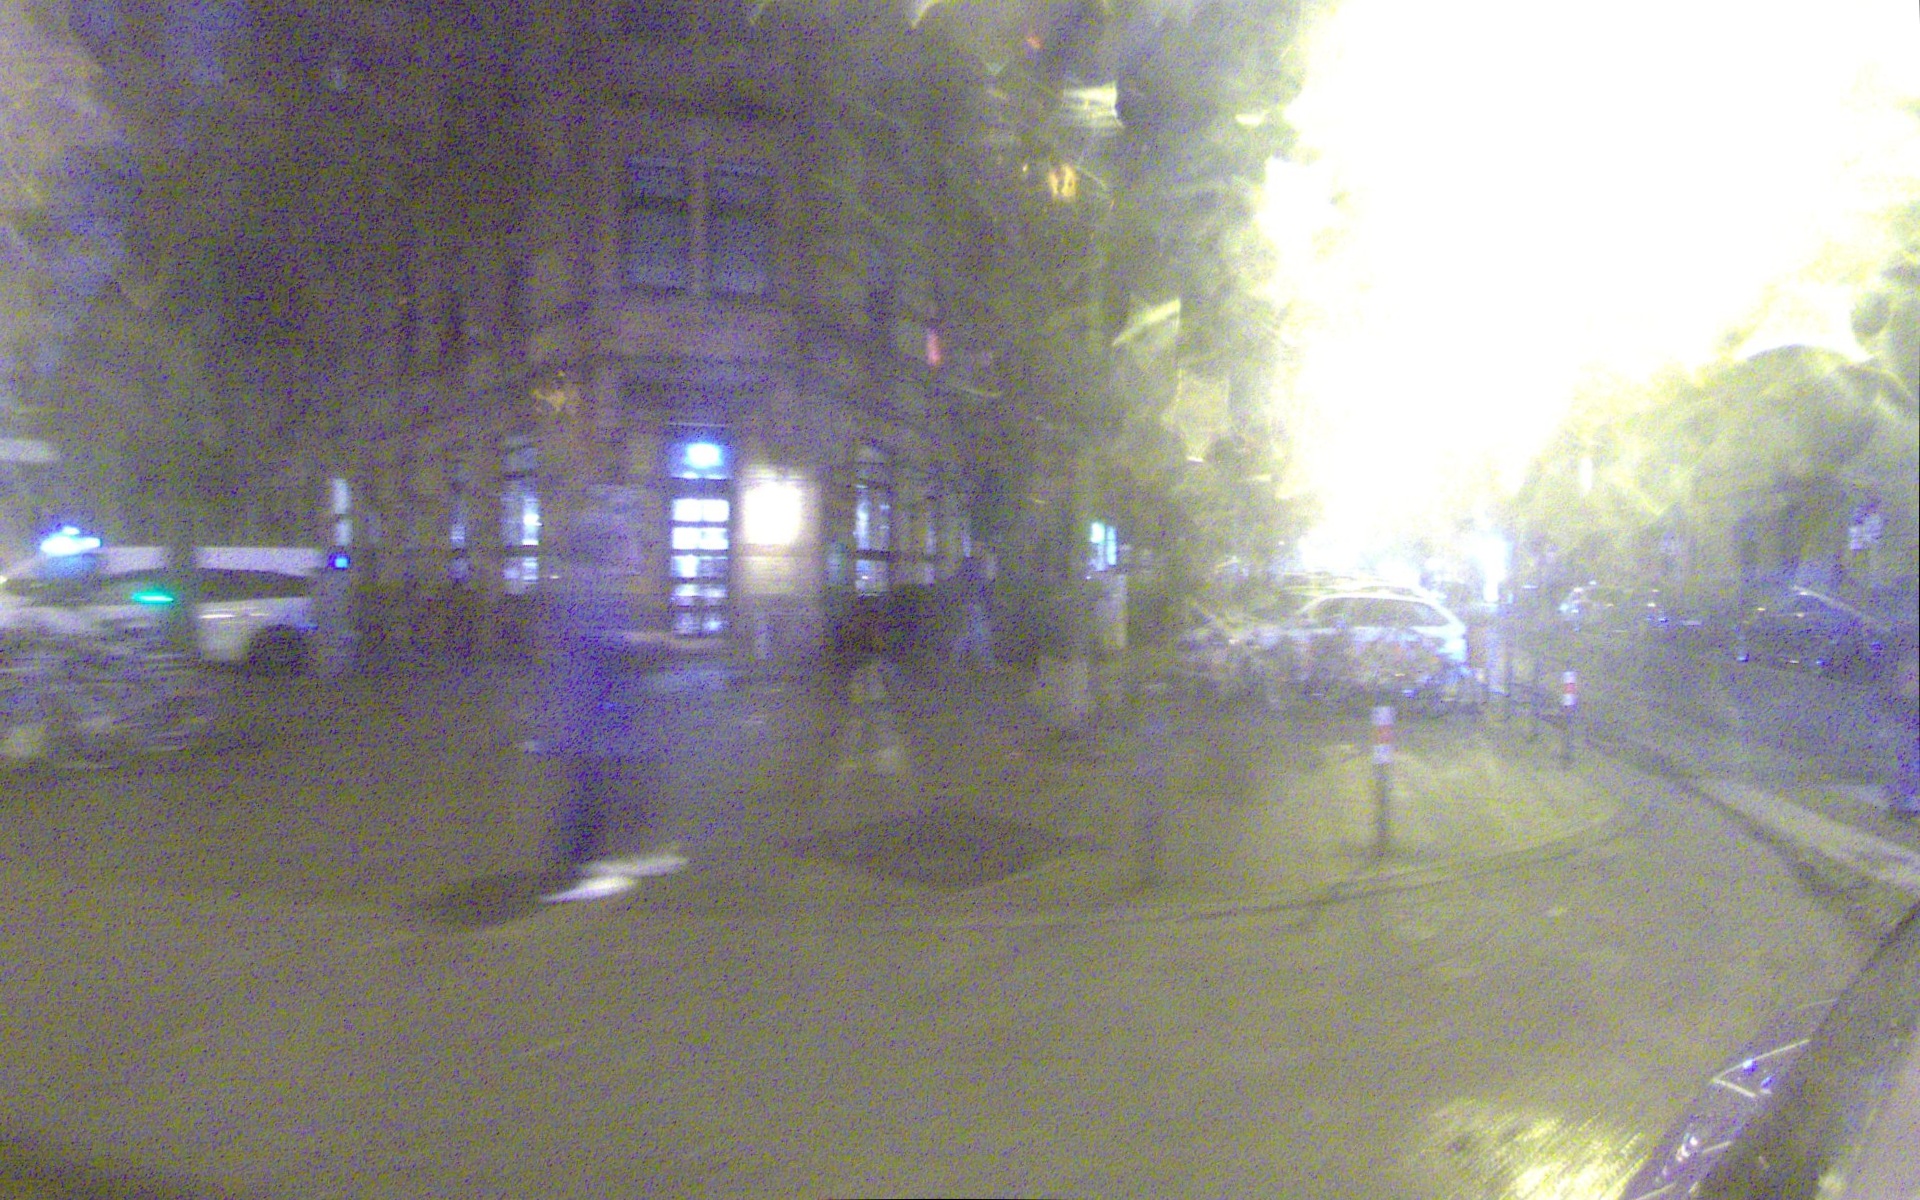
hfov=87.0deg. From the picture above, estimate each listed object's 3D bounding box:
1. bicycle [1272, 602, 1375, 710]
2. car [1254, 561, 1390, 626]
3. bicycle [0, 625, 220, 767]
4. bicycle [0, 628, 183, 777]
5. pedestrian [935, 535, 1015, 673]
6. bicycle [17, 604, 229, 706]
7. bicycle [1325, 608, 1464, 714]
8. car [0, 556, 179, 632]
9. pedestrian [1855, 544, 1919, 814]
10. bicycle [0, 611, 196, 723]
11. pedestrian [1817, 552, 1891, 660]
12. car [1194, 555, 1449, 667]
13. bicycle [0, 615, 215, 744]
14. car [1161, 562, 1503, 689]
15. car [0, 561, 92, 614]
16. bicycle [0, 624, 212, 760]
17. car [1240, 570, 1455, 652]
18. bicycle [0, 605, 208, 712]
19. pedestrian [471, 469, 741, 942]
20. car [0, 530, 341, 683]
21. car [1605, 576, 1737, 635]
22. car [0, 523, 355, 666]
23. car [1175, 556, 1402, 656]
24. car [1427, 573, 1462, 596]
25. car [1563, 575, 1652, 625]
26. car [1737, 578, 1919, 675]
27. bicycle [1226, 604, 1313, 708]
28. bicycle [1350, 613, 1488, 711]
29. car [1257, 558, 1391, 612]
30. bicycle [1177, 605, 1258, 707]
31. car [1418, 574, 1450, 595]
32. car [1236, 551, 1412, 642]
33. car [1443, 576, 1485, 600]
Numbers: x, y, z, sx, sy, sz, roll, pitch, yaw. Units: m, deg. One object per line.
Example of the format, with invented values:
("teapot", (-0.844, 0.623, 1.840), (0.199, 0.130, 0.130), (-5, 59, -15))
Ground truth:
("bicycle", (4.242, 0.619, 11.918), (0.329, 1.038, 1.651), (-1, 5, -10))
("car", (11.871, -0.213, 33.224), (3.851, 1.966, 1.748), (1, 1, -17))
("bicycle", (-7.012, 0.735, 8.047), (0.402, 1.021, 1.781), (1, 1, 44))
("bicycle", (-6.894, 0.745, 7.479), (0.454, 1.021, 1.781), (1, 1, 44))
("pedestrian", (0.207, 0.027, 14.032), (0.789, 1.839, 0.798), (2, 3, 45))
("bicycle", (-9.072, 0.561, 11.035), (0.402, 1.021, 1.749), (1, 1, 44))
("bicycle", (5.040, 0.679, 11.855), (0.329, 1.039, 1.650), (1, 3, -25))
("car", (-22.403, -0.156, 25.232), (1.993, 1.784, 4.395), (0, 1, 42))
("pedestrian", (6.694, 0.520, 6.867), (0.822, 1.793, 0.593), (-1, 1, 32))
("bicycle", (-8.643, 0.628, 9.943), (0.402, 1.021, 1.781), (1, 1, 44))
("pedestrian", (19.371, 0.113, 21.958), (0.791, 2.269, 1.110), (1, 1, 18))
("car", (6.104, 0.166, 17.239), (3.661, 1.733, 1.776), (2, 1, -15))
("bicycle", (-7.585, 0.658, 8.761), (0.402, 1.021, 1.781), (1, 1, 44))
("car", (5.206, 0.334, 14.446), (4.175, 1.593, 1.775), (2, 1, -8))
("car", (-29.463, -0.361, 31.295), (3.932, 1.571, 1.996), (-3, 1, -42))
("bicycle", (-7.322, 0.737, 8.380), (0.378, 1.021, 1.781), (1, 1, 44))
("car", (8.520, 0.212, 22.454), (3.989, 1.617, 1.837), (2, 1, -8))
("bicycle", (-8.911, 0.571, 10.472), (0.402, 1.021, 1.781), (1, 1, 44))
("pedestrian", (-1.619, 0.399, 4.601), (0.965, 1.856, 0.879), (-1, 1, -34))
("car", (-11.212, 0.052, 13.198), (1.993, 1.784, 5.019), (0, 1, 42))
("car", (19.405, 0.087, 27.819), (1.698, 1.497, 4.139), (0, 1, 16))
("car", (-12.572, -0.101, 15.389), (1.993, 1.913, 5.463), (0, 1, 42))
("car", (6.247, 0.102, 19.393), (3.713, 1.733, 1.753), (2, 1, -15))
("car", (35.768, -1.159, 74.777), (1.829, 1.600, 3.712), (-1, 1, 19))
("car", (20.955, -0.033, 32.881), (1.701, 1.497, 3.759), (-1, 1, 21))
("car", (15.976, 0.365, 18.087), (1.829, 1.497, 4.999), (0, 1, 19))
("bicycle", (3.618, 0.618, 11.943), (0.329, 1.106, 1.648), (1, 1, -7))
("bicycle", (5.438, 0.701, 12.099), (0.329, 1.039, 1.649), (1, 1, -26))
("car", (14.726, -0.618, 41.051), (4.615, 2.004, 1.983), (2, 1, -9))
("bicycle", (3.001, 0.619, 11.935), (0.329, 1.039, 1.649), (1, 2, -7))
("car", (37.752, -1.273, 80.679), (1.829, 1.600, 3.712), (-1, 1, 19))
("car", (8.939, -0.095, 24.932), (3.661, 2.053, 1.726), (2, 1, -15))
("car", (31.749, -0.774, 63.826), (1.829, 1.497, 3.712), (-1, 1, 19))
